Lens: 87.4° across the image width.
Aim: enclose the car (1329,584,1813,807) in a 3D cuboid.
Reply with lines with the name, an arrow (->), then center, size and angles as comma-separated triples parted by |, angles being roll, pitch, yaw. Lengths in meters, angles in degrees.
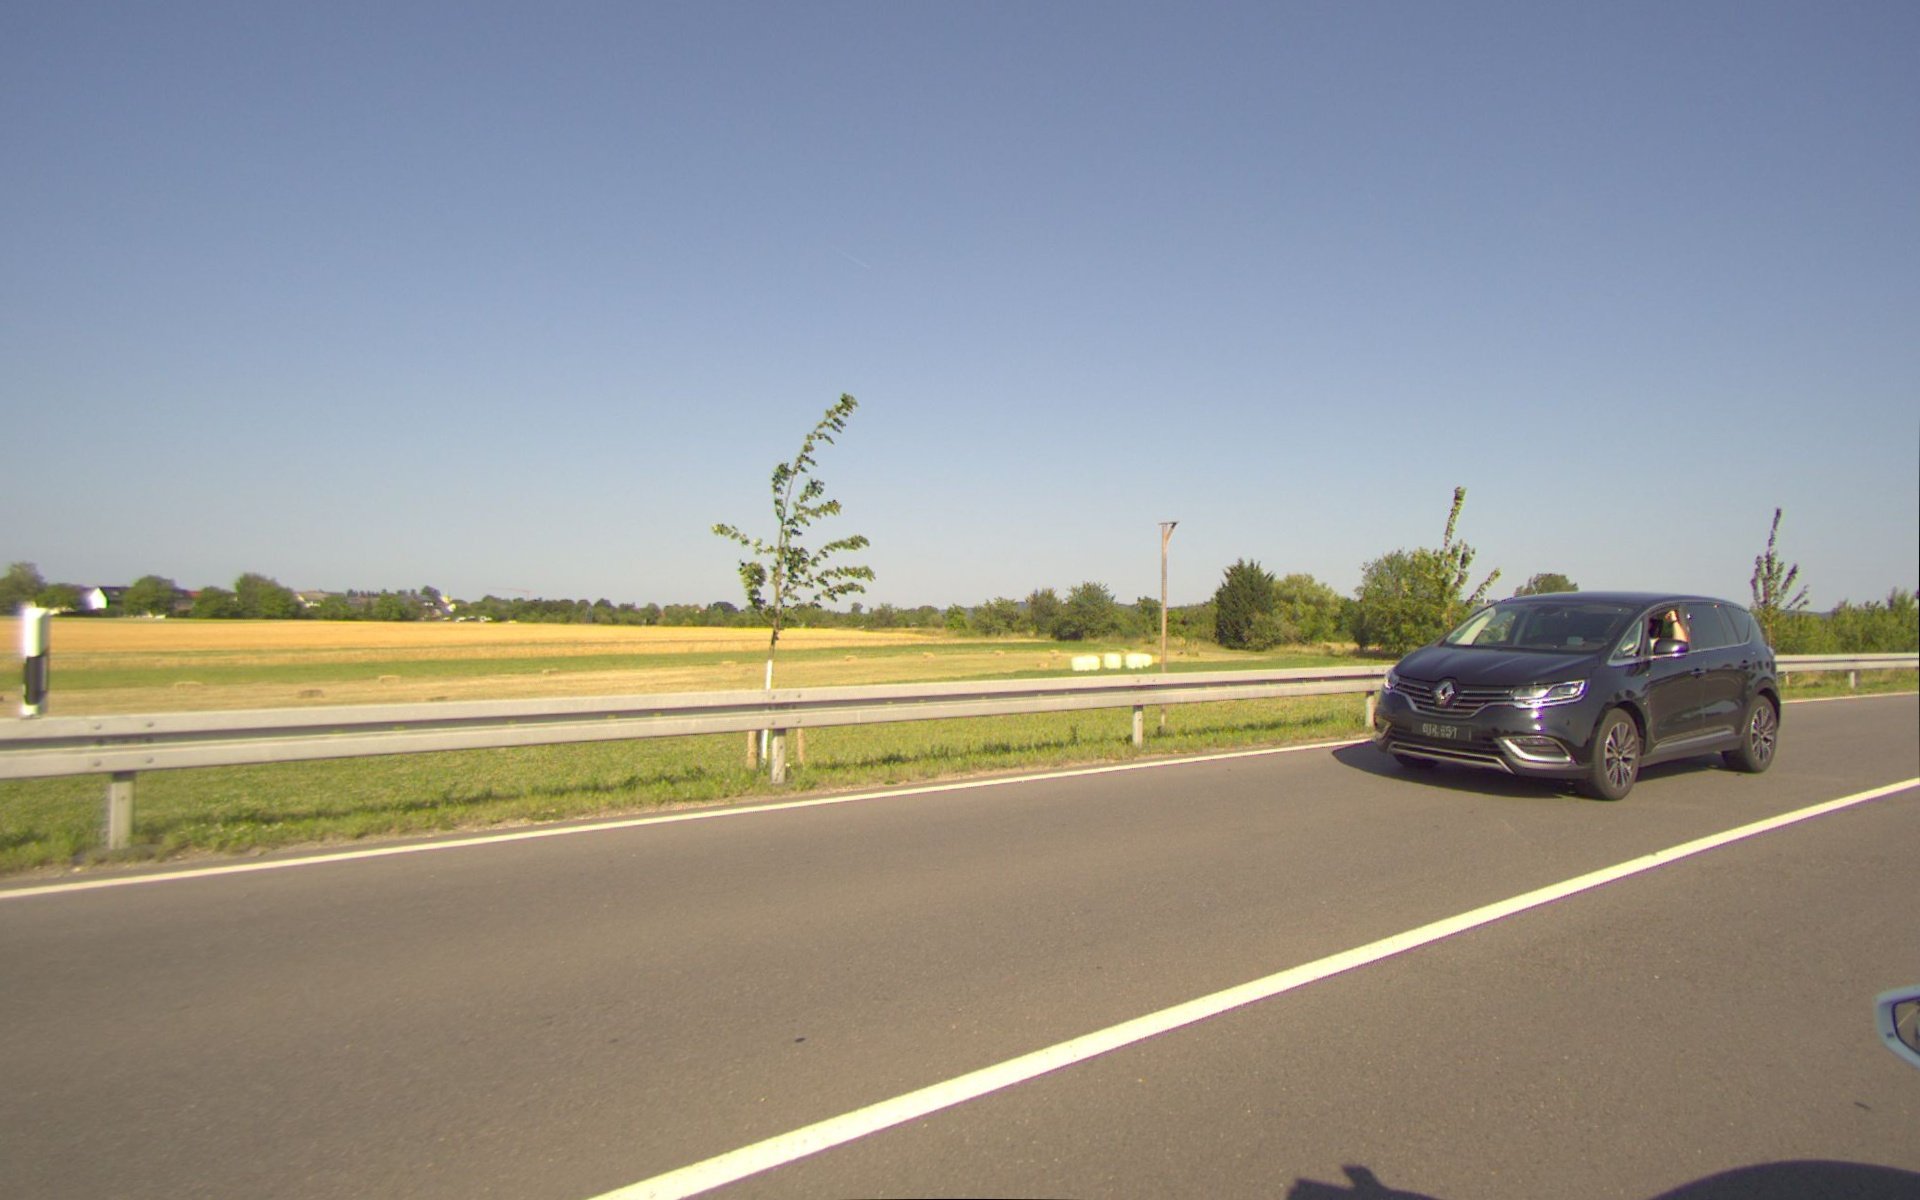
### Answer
car -> 5.886, 0.747, 9.493 | 4.810, 1.614, 1.982 | 2, 1, -33
